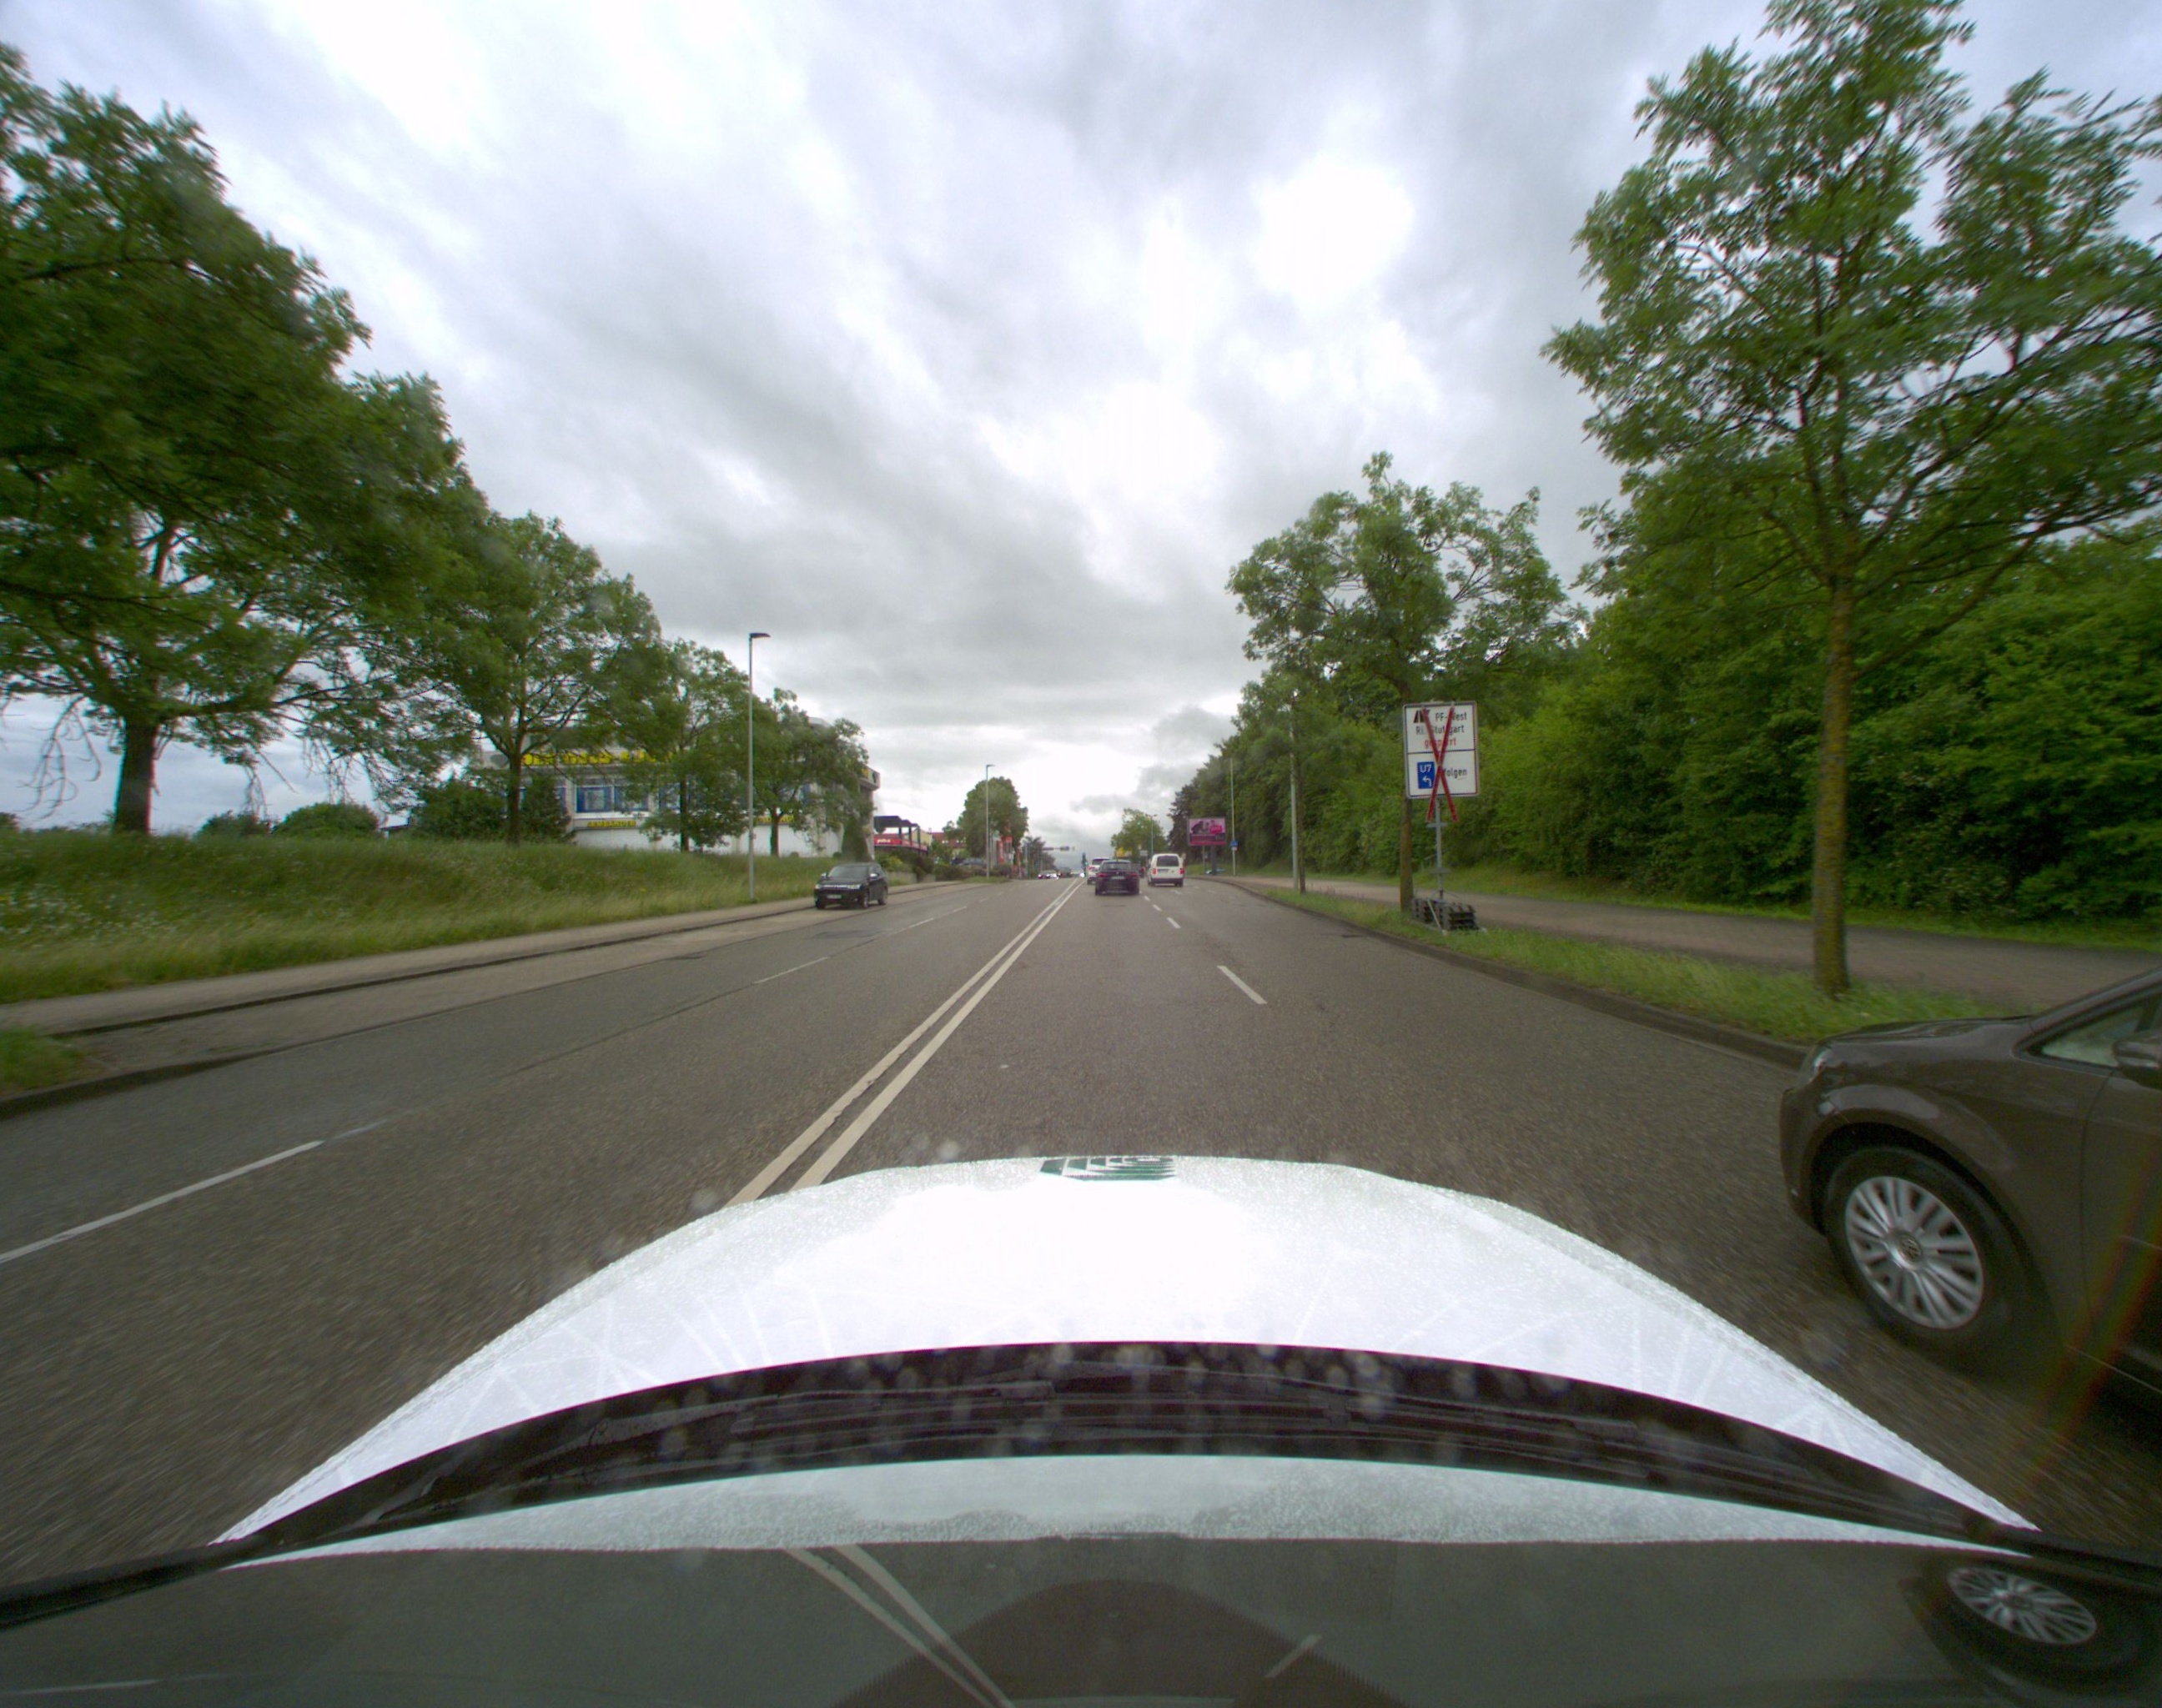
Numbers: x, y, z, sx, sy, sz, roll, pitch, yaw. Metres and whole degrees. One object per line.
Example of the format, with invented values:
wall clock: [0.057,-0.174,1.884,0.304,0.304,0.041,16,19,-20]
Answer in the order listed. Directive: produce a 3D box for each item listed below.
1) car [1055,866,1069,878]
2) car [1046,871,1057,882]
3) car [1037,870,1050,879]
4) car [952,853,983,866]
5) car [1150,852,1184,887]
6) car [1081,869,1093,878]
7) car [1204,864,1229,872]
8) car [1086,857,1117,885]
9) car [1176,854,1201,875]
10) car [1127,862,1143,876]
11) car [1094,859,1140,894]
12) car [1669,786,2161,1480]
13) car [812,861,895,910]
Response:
car: [-2.596,2.485,114.860,1.790,1.584,4.198,-2,0,0]
car: [-5.554,4.181,154.215,1.791,1.983,4.895,-3,-1,-1]
car: [-5.968,3.240,129.588,1.786,1.401,4.301,-3,-1,2]
car: [-14.190,0.739,101.964,3.821,1.482,1.738,-1,-1,-6]
car: [4.741,0.815,45.374,1.734,1.869,3.949,0,0,3]
car: [1.027,3.377,139.106,1.890,1.456,4.093,-1,-2,-2]
car: [24.191,2.485,145.348,3.997,1.294,1.599,-2,-1,-17]
car: [1.319,1.026,51.179,1.720,1.711,3.386,0,0,4]
car: [9.207,0.919,70.053,1.806,1.708,3.949,-1,0,3]
car: [5.705,1.533,86.070,1.594,1.372,3.683,-2,0,3]
car: [1.573,0.923,34.770,1.847,1.419,3.961,0,0,4]
car: [3.325,0.638,1.416,1.708,1.596,4.132,0,0,1]
car: [-8.404,1.109,30.486,1.719,1.668,4.489,0,0,2]
